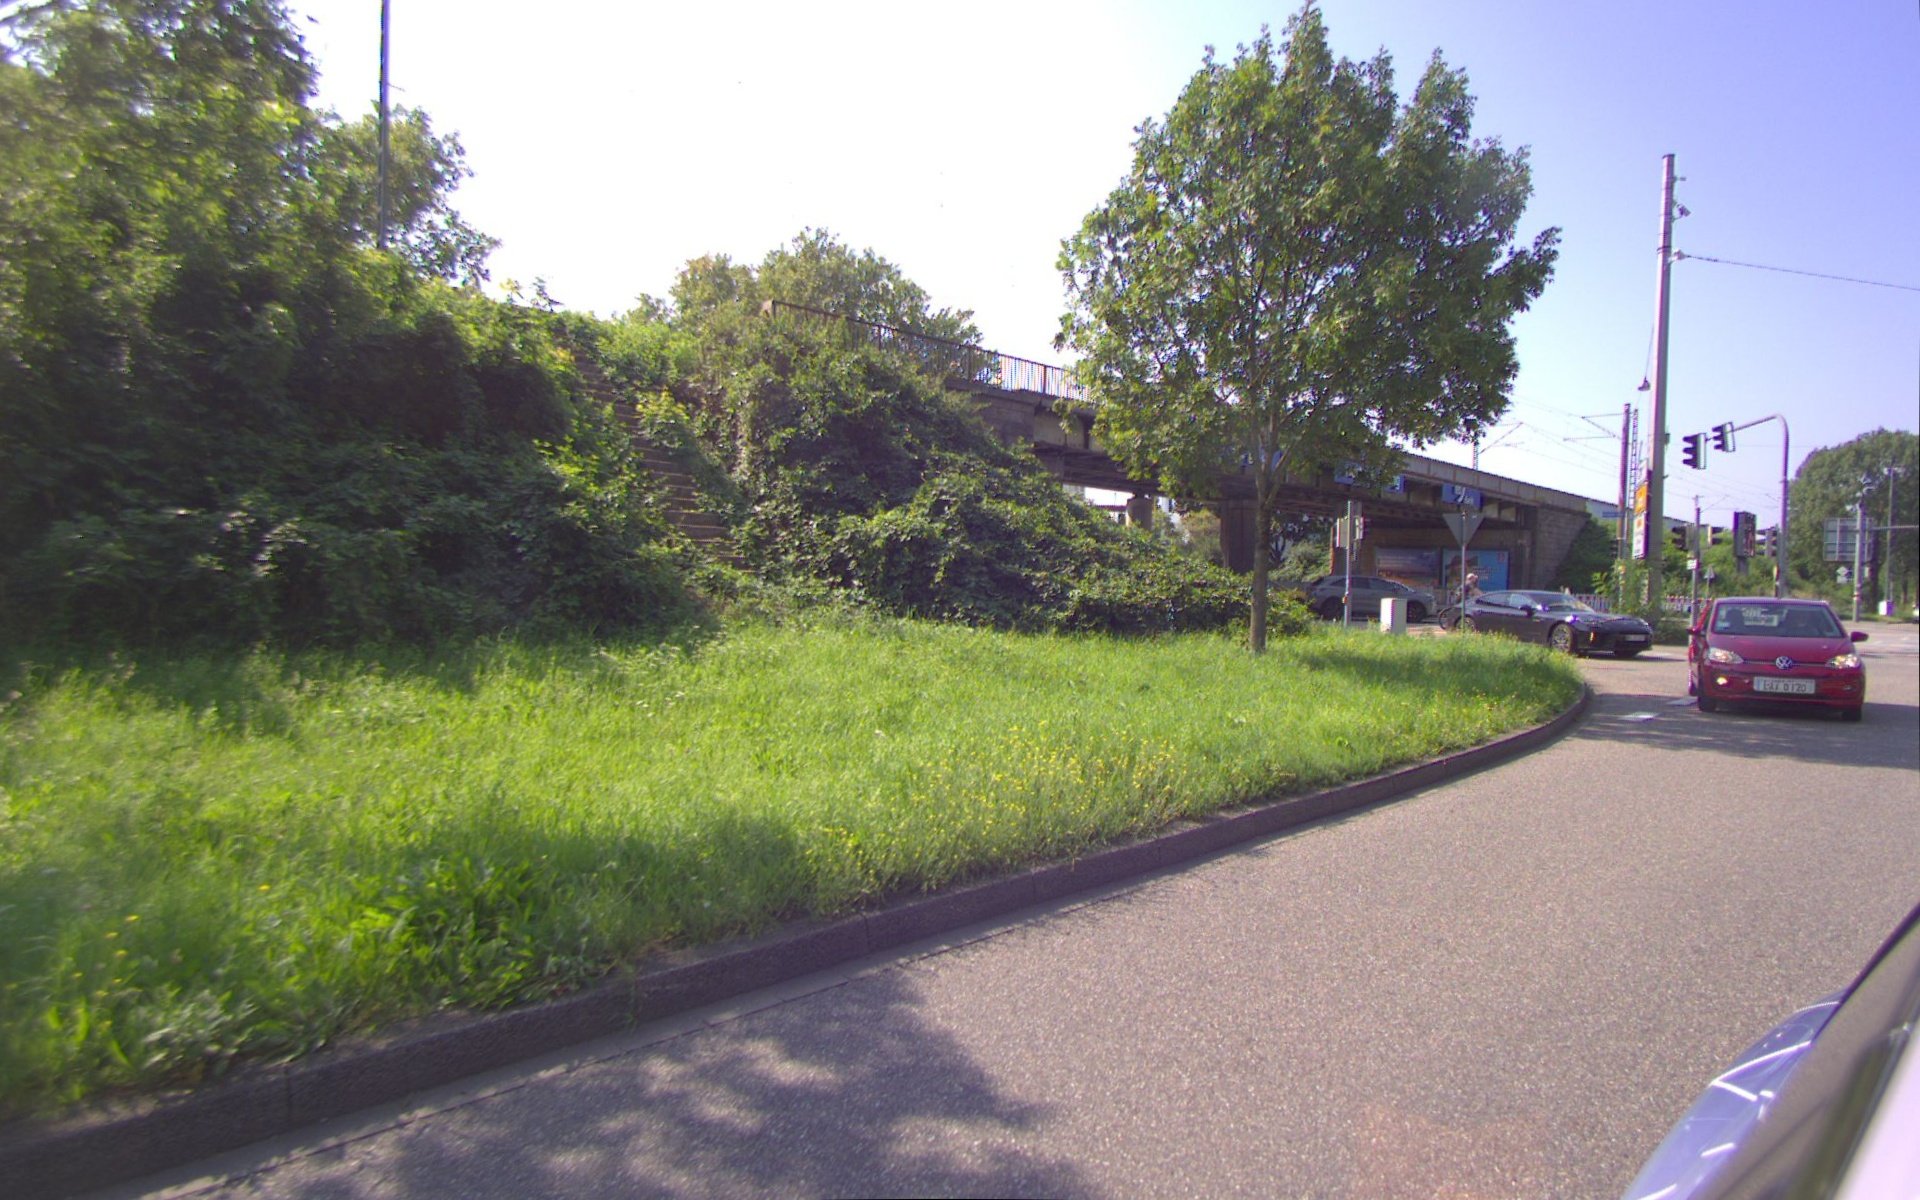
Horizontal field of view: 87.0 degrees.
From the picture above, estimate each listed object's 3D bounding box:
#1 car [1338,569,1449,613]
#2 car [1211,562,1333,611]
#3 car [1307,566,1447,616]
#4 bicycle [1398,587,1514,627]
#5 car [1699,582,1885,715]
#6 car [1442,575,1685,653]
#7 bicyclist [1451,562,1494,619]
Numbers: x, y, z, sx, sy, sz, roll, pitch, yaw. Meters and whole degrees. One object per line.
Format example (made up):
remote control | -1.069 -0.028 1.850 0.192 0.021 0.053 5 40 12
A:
car | 16.866 -0.377 39.521 3.635 1.557 1.723 2 2 9
car | 12.326 -0.540 40.257 4.277 1.592 1.995 4 1 9
car | 14.992 -0.374 36.652 4.410 1.637 1.899 2 2 15
bicycle | 14.996 0.190 30.721 2.935 1.062 1.229 2 1 15
car | 10.837 0.532 13.398 1.633 1.486 3.509 -1 1 35
car | 13.949 0.233 23.828 1.958 1.480 4.900 0 3 -15
bicyclist | 15.446 -0.297 30.520 0.956 1.679 0.709 2 1 15
